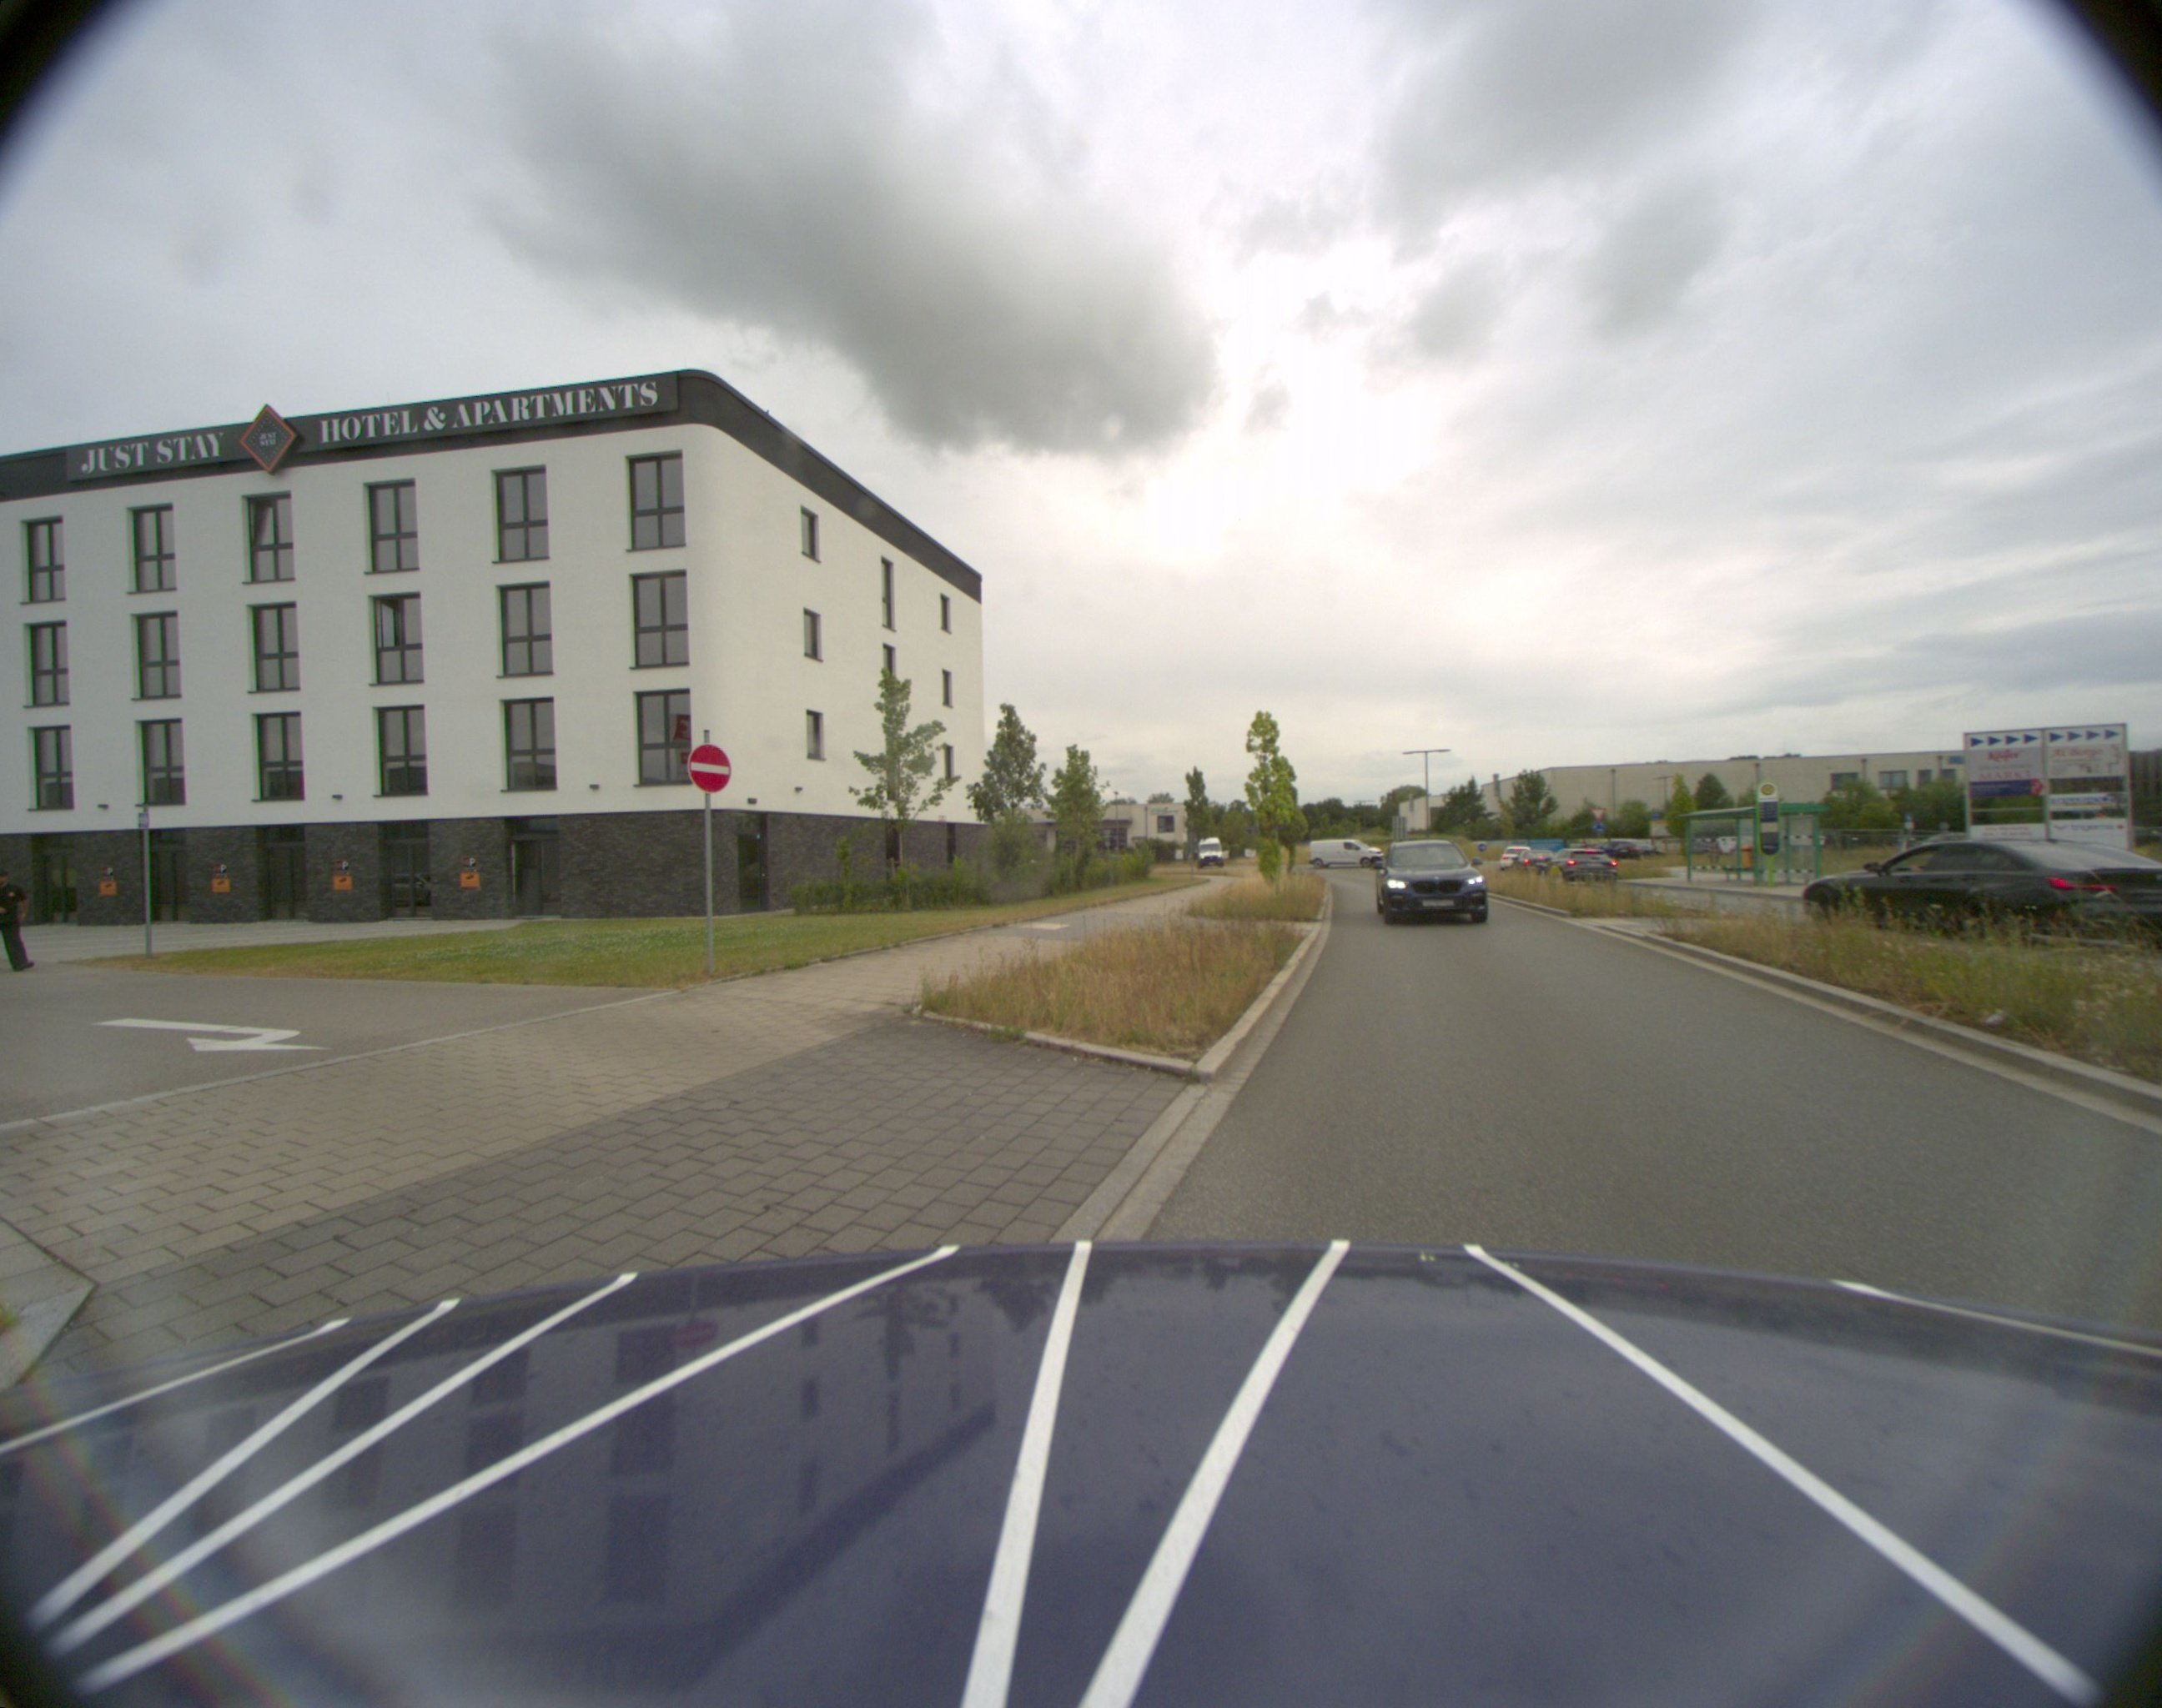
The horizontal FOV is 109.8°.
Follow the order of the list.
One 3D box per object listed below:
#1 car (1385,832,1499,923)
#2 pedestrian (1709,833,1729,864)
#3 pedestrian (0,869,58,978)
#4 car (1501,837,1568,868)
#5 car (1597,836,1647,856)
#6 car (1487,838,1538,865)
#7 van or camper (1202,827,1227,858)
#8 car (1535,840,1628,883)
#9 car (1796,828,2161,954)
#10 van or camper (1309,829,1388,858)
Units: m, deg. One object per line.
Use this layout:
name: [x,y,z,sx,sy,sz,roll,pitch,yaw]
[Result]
car: [7.408,0.384,15.944,1.890,1.631,4.005,-1,1,22]
pedestrian: [36.090,-0.307,42.984,0.652,1.712,0.741,-3,3,-36]
pedestrian: [-18.568,1.191,13.138,0.811,1.812,0.710,-1,2,14]
car: [22.064,-0.105,37.130,1.787,1.388,4.376,0,2,17]
car: [38.555,-0.576,54.159,3.297,1.346,1.557,-2,1,-27]
car: [25.286,-0.169,44.678,1.755,1.472,4.060,0,2,17]
van or camper: [11.585,-1.029,65.844,1.997,2.568,5.469,-1,2,11]
car: [19.128,0.244,29.245,1.794,1.458,4.324,-1,2,16]
car: [13.057,0.384,11.062,1.782,1.437,4.613,-2,1,14]
van or camper: [18.642,-0.702,53.078,4.828,1.880,1.987,-1,1,39]
